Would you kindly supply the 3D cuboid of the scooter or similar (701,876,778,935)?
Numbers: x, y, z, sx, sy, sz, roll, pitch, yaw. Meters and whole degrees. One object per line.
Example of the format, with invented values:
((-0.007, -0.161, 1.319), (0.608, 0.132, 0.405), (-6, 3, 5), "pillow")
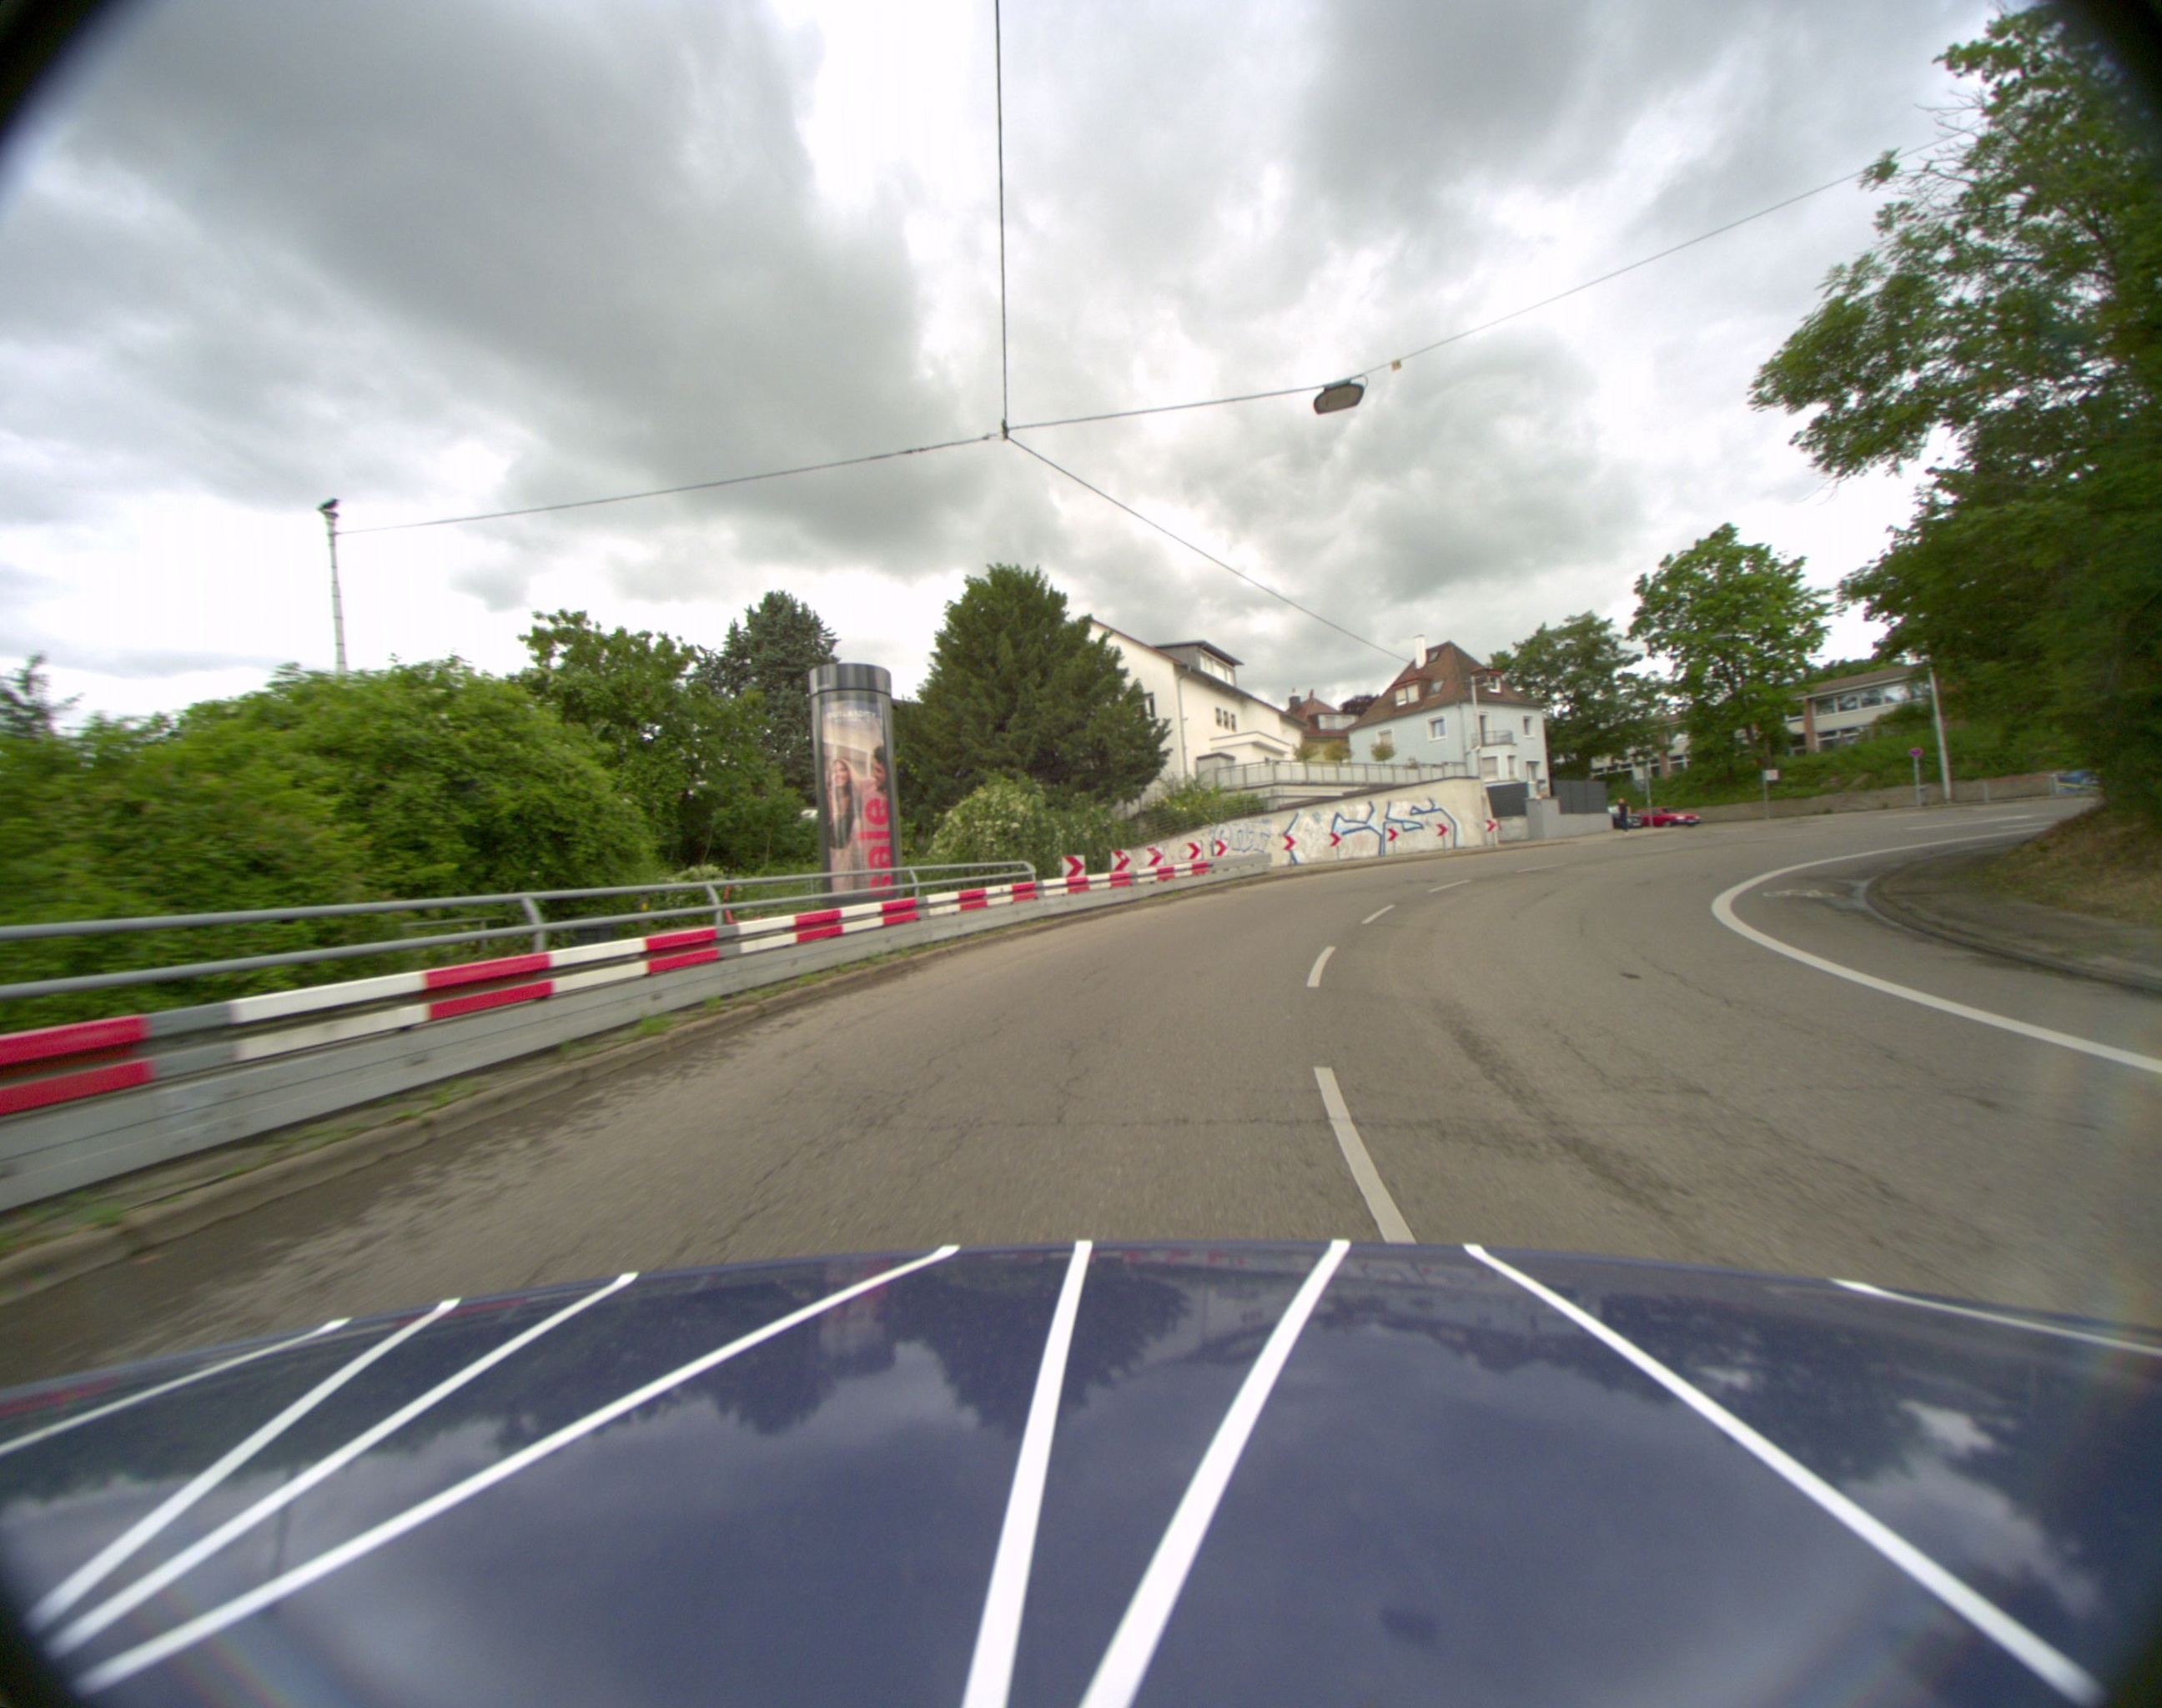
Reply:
((-7.875, 1.176, 17.557), (1.500, 1.243, 0.436), (-4, 0, -2), "scooter or similar")

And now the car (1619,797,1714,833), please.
((37.694, -2.452, 49.118), (1.950, 1.853, 4.838), (-4, -1, -7), "car")

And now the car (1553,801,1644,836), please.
((34.033, -2.272, 50.150), (1.951, 1.853, 4.836), (-4, -1, -12), "car")

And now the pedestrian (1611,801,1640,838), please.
((27.908, -1.766, 38.929), (0.983, 1.817, 0.575), (-4, 1, 14), "pedestrian")
